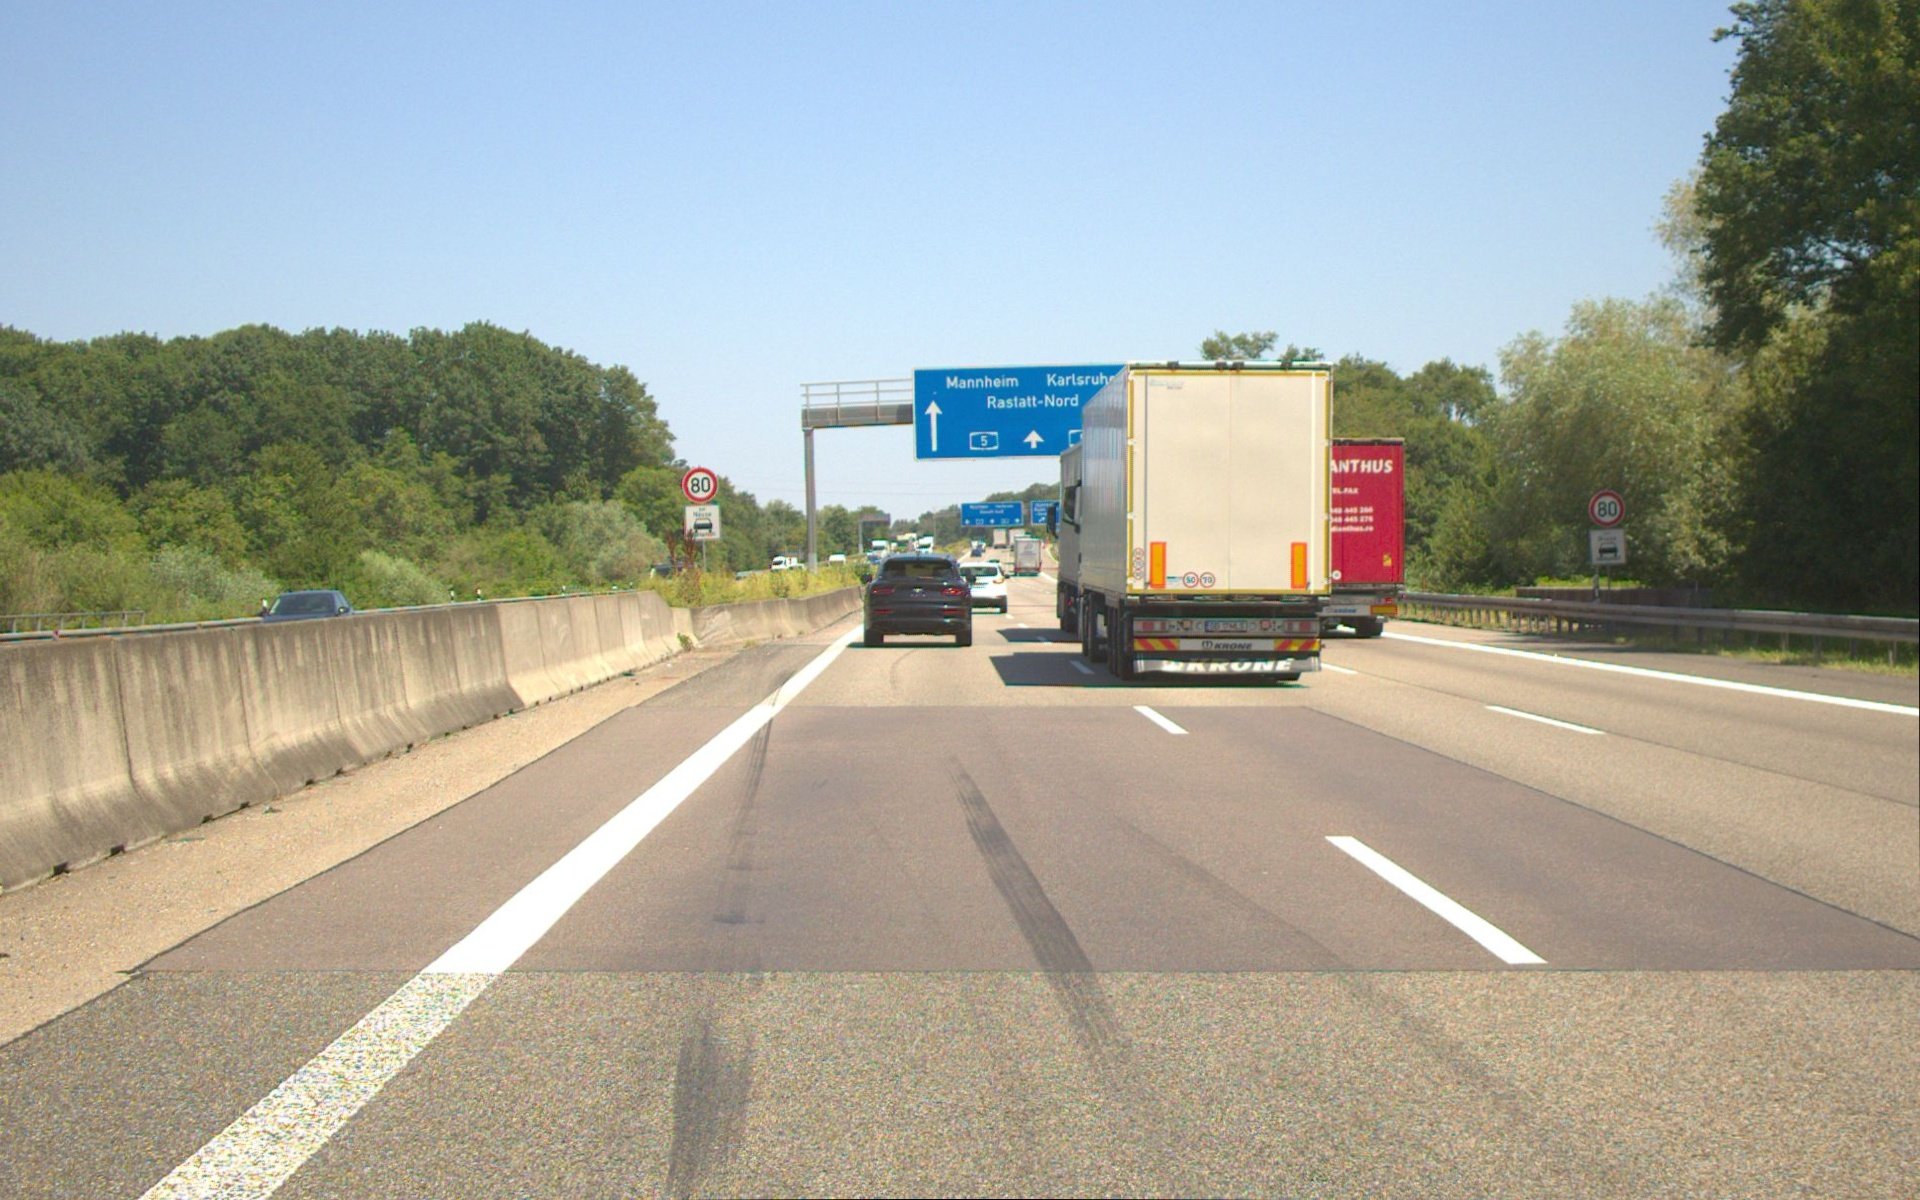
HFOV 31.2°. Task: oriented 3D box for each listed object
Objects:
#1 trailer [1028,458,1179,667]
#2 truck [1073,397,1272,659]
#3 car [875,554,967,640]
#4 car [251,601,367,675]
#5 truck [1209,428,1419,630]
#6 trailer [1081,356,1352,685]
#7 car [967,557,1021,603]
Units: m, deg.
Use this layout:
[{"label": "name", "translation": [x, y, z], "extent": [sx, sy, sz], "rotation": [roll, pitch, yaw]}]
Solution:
[{"label": "trailer", "translation": [2.937, -0.760, 74.238], "extent": [2.707, 4.054, 14.746], "rotation": [0, 0, 0]}, {"label": "truck", "translation": [3.336, -1.132, 55.366], "extent": [2.799, 3.993, 6.021], "rotation": [0, 1, 0]}, {"label": "car", "translation": [-0.732, -0.085, 63.975], "extent": [1.660, 1.544, 3.783], "rotation": [0, 1, -1]}, {"label": "car", "translation": [-14.160, 0.809, 74.950], "extent": [1.769, 1.466, 4.000], "rotation": [-2, 1, 0]}, {"label": "truck", "translation": [7.684, -1.503, 76.504], "extent": [3.055, 4.092, 13.219], "rotation": [0, 1, -1]}, {"label": "trailer", "translation": [3.364, -1.051, 48.376], "extent": [2.795, 4.021, 12.568], "rotation": [0, 1, 0]}, {"label": "car", "translation": [1.105, -0.679, 112.516], "extent": [1.740, 1.481, 4.000], "rotation": [0, 1, 1]}]
